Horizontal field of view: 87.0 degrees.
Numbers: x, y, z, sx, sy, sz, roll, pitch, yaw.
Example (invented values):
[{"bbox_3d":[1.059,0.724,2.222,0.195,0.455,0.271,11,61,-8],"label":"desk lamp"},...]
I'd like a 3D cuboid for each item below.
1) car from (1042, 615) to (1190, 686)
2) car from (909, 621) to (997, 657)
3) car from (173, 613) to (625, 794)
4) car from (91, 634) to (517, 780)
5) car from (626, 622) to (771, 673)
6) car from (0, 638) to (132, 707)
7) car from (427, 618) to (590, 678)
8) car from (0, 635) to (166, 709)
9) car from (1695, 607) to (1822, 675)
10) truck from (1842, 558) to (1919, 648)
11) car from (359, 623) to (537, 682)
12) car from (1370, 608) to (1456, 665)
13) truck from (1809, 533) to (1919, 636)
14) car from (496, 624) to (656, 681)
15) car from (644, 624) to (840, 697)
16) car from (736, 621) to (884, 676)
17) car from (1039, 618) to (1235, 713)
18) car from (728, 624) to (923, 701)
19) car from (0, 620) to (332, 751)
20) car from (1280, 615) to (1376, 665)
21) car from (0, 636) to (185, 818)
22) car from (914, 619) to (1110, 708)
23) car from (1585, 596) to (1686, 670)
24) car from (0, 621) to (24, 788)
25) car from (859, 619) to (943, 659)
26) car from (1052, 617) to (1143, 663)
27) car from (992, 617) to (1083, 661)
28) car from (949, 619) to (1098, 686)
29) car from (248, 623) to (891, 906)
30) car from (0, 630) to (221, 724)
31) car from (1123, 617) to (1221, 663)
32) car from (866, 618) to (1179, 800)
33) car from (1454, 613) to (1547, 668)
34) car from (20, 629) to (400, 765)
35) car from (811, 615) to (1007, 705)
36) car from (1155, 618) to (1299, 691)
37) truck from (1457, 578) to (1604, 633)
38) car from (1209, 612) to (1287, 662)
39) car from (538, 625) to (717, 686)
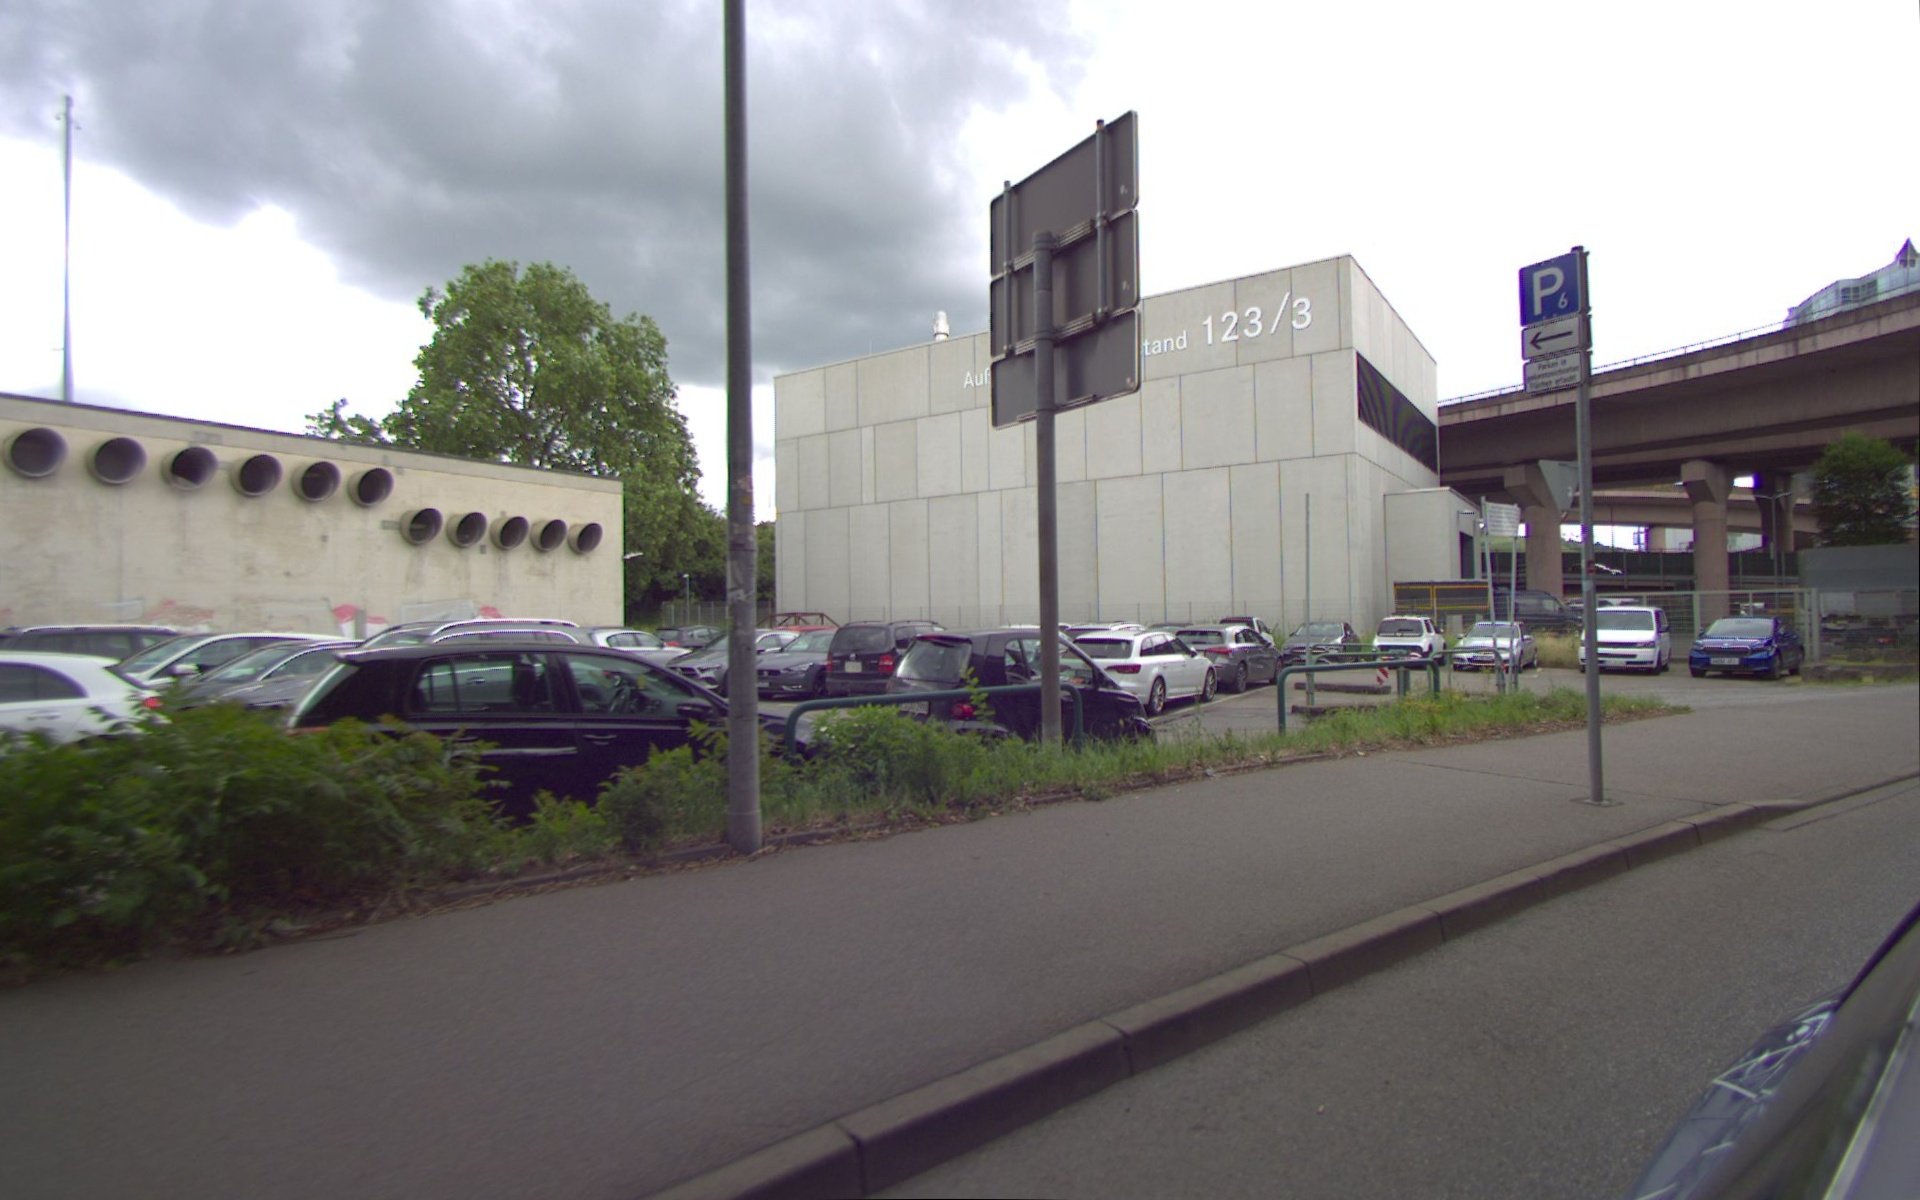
[{"bbox_3d":[3.845,1.138,24.349,1.826,1.533,4.445,-1,-1,34],"label":"car"},{"bbox_3d":[-0.223,1.495,39.923,1.682,1.315,4.155,-1,-1,29],"label":"car"},{"bbox_3d":[-6.293,1.016,11.934,1.731,1.696,4.420,-1,-1,31],"label":"car"},{"bbox_3d":[-8.316,1.238,13.297,1.742,1.467,4.409,-1,-1,31],"label":"car"},{"bbox_3d":[-8.194,1.458,32.051,1.826,1.444,4.387,-1,-1,34],"label":"car"},{"bbox_3d":[-20.176,1.521,21.087,1.695,1.322,4.213,-1,-1,31],"label":"car"},{"bbox_3d":[-12.670,1.308,28.639,1.755,1.552,3.930,-1,-1,32],"label":"car"},{"bbox_3d":[-18.474,1.402,19.883,1.695,1.322,4.213,-1,-1,31],"label":"car"},{"bbox_3d":[21.543,1.033,27.237,4.602,1.655,1.773,0,-1,-40],"label":"car"},{"bbox_3d":[33.688,0.091,34.167,5.994,2.923,2.461,0,-1,-7],"label":"truck"},{"bbox_3d":[-14.931,1.481,29.752,1.755,1.552,4.437,-1,-1,32],"label":"car"},{"bbox_3d":[13.972,1.072,31.080,1.763,1.608,4.309,-1,-1,33],"label":"car"},{"bbox_3d":[43.902,-0.658,44.146,10.066,4.422,3.865,-1,-2,35],"label":"truck"},{"bbox_3d":[-10.540,1.401,28.015,1.755,1.410,3.930,-1,-1,32],"label":"car"},{"bbox_3d":[-4.942,1.328,23.562,1.844,1.462,4.567,-1,-1,32],"label":"car"},{"bbox_3d":[-4.291,1.366,29.581,1.826,1.444,4.387,-1,-1,34],"label":"car"},{"bbox_3d":[3.398,1.104,18.671,1.845,1.494,4.629,-1,-1,34],"label":"car"},{"bbox_3d":[-2.835,1.290,22.380,1.844,1.462,4.567,-1,-1,32],"label":"car"},{"bbox_3d":[-12.574,1.203,15.839,1.742,1.713,4.382,-1,-1,31],"label":"car"},{"bbox_3d":[11.483,1.185,31.420,1.764,1.401,4.306,-1,-1,35],"label":"car"},{"bbox_3d":[-8.974,1.059,8.023,1.823,1.439,4.145,-1,-1,31],"label":"car"},{"bbox_3d":[1.160,1.135,19.843,1.844,1.494,4.633,-1,-1,32],"label":"car"},{"bbox_3d":[19.531,0.888,29.176,1.885,1.982,4.612,-1,-1,40],"label":"car"},{"bbox_3d":[-11.070,1.017,8.677,1.823,1.613,4.145,-1,-1,31],"label":"car"},{"bbox_3d":[-2.328,1.528,40.991,1.484,1.478,4.023,-1,-1,29],"label":"car"},{"bbox_3d":[4.885,1.340,35.522,1.759,1.475,4.316,-1,-1,29],"label":"car"},{"bbox_3d":[2.917,1.373,37.312,1.759,1.475,4.316,-1,-1,29],"label":"car"},{"bbox_3d":[1.729,1.277,25.987,1.826,1.533,4.445,-1,-1,34],"label":"car"},{"bbox_3d":[-2.747,0.959,7.555,4.169,1.498,1.735,0,-1,-35],"label":"car"},{"bbox_3d":[-16.309,1.345,18.516,1.695,1.528,4.213,-1,-1,31],"label":"car"},{"bbox_3d":[7.297,1.310,34.541,1.764,1.401,4.306,-1,-1,35],"label":"car"},{"bbox_3d":[0.639,0.950,9.991,2.708,1.498,1.544,0,-1,-35],"label":"car"},{"bbox_3d":[16.090,1.129,30.014,1.765,1.475,4.494,-1,-1,37],"label":"car"},{"bbox_3d":[-10.503,1.235,14.495,1.742,1.577,4.042,-1,-1,31],"label":"car"},{"bbox_3d":[-0.932,1.154,21.122,1.844,1.649,4.567,-1,-1,32],"label":"car"},{"bbox_3d":[6.159,1.158,22.996,1.826,1.444,4.387,-1,-1,34],"label":"car"},{"bbox_3d":[32.358,0.365,57.528,6.891,2.970,3.009,-1,-2,38],"label":"truck"},{"bbox_3d":[9.582,1.186,33.549,1.613,1.564,3.059,-1,-1,35],"label":"car"},{"bbox_3d":[-8.581,1.393,26.512,1.771,1.410,4.385,-1,-1,32],"label":"car"}]
